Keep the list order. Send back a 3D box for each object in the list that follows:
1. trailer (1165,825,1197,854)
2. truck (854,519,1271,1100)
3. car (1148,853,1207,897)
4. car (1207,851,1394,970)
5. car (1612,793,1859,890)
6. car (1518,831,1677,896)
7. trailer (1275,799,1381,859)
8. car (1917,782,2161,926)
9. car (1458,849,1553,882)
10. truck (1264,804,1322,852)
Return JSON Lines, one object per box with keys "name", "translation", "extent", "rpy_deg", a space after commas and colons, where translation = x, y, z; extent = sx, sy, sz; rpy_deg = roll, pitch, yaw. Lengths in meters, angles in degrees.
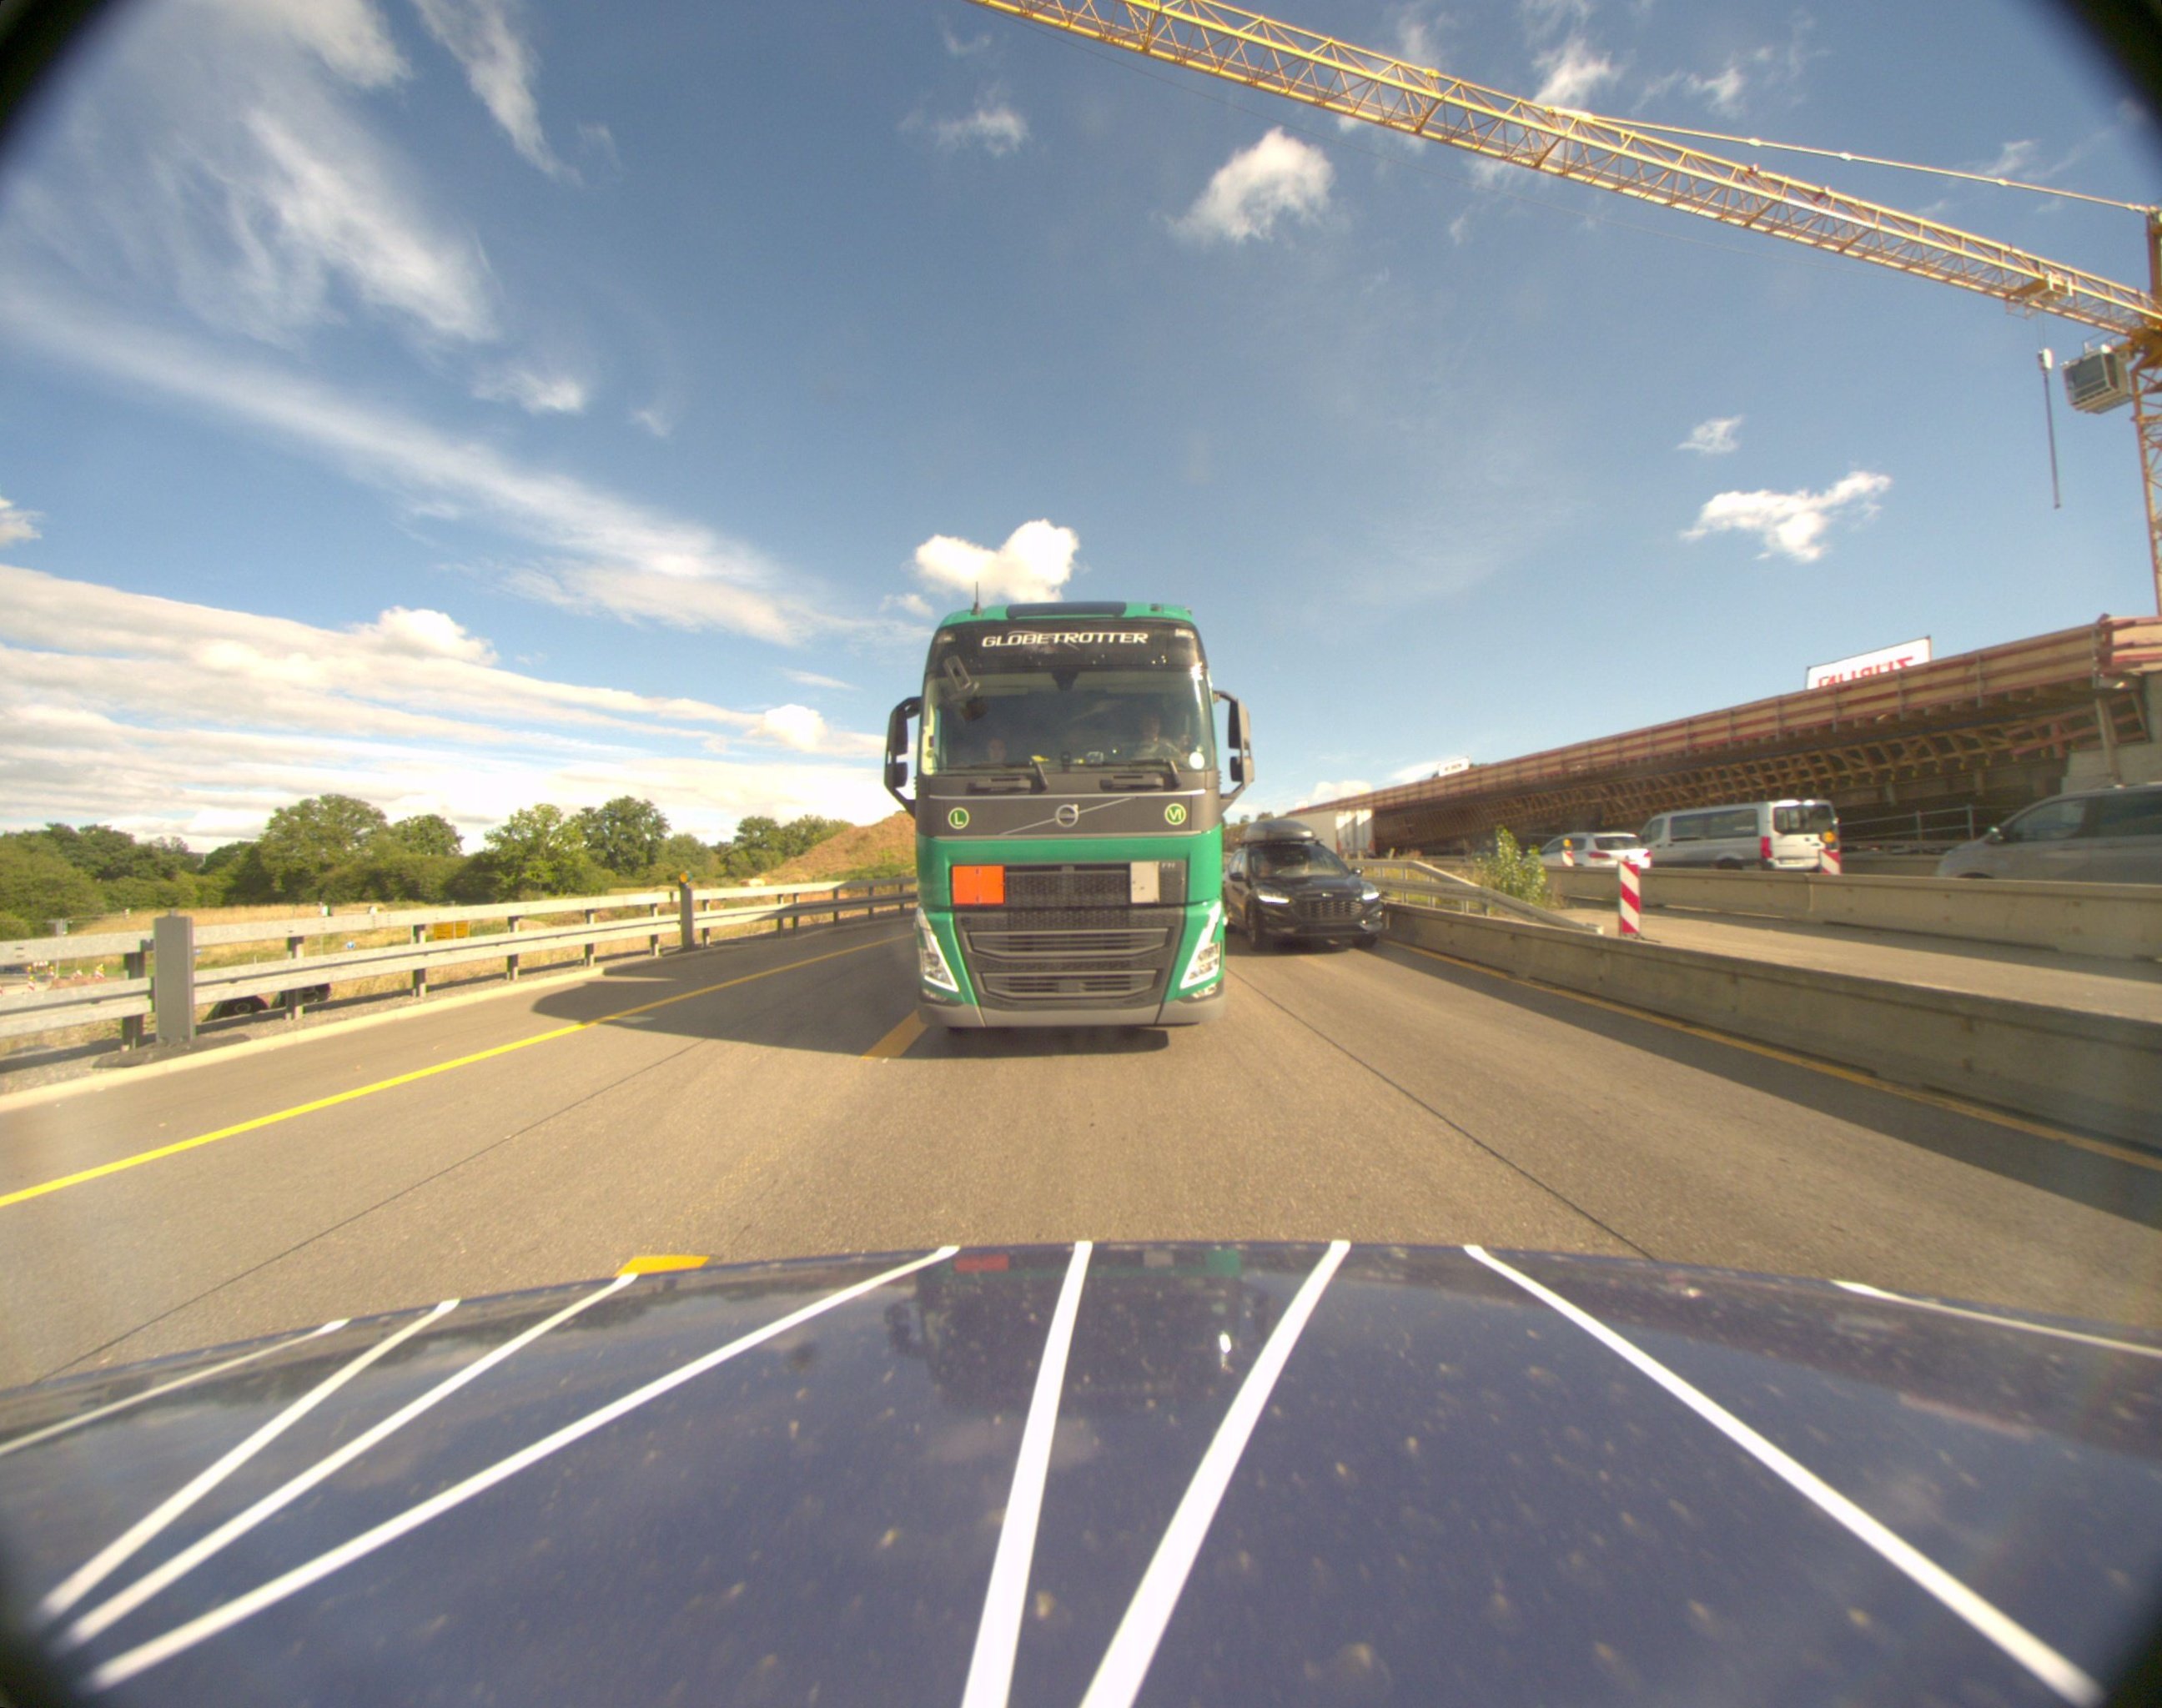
{"name": "trailer", "translation": [15.586, -2.296, 119.774], "extent": [2.694, 4.132, 13.807], "rpy_deg": [-2, 1, -2]}
{"name": "truck", "translation": [-0.138, -0.370, 10.310], "extent": [2.663, 3.825, 10.315], "rpy_deg": [-2, 1, 0]}
{"name": "car", "translation": [3.665, 0.749, 29.661], "extent": [1.948, 1.422, 4.505], "rpy_deg": [-2, 1, 4]}
{"name": "car", "translation": [3.387, 0.778, 12.666], "extent": [1.804, 1.533, 4.383], "rpy_deg": [-3, 1, 0]}
{"name": "car", "translation": [18.872, -0.370, 22.453], "extent": [2.264, 2.389, 5.866], "rpy_deg": [-2, 1, 1]}
{"name": "car", "translation": [15.311, 0.265, 22.868], "extent": [2.130, 1.664, 4.274], "rpy_deg": [-3, 0, 6]}
{"name": "trailer", "translation": [17.952, -1.731, 56.645], "extent": [2.828, 3.819, 13.798], "rpy_deg": [-3, 1, -2]}
{"name": "car", "translation": [14.217, -0.062, 9.559], "extent": [2.130, 1.755, 5.033], "rpy_deg": [-3, 0, 6]}
{"name": "car", "translation": [18.740, 0.464, 33.757], "extent": [1.925, 1.265, 3.999], "rpy_deg": [-2, 1, 0]}
{"name": "truck", "translation": [17.665, -2.110, 63.707], "extent": [2.784, 3.767, 6.015], "rpy_deg": [-3, 1, -2]}
